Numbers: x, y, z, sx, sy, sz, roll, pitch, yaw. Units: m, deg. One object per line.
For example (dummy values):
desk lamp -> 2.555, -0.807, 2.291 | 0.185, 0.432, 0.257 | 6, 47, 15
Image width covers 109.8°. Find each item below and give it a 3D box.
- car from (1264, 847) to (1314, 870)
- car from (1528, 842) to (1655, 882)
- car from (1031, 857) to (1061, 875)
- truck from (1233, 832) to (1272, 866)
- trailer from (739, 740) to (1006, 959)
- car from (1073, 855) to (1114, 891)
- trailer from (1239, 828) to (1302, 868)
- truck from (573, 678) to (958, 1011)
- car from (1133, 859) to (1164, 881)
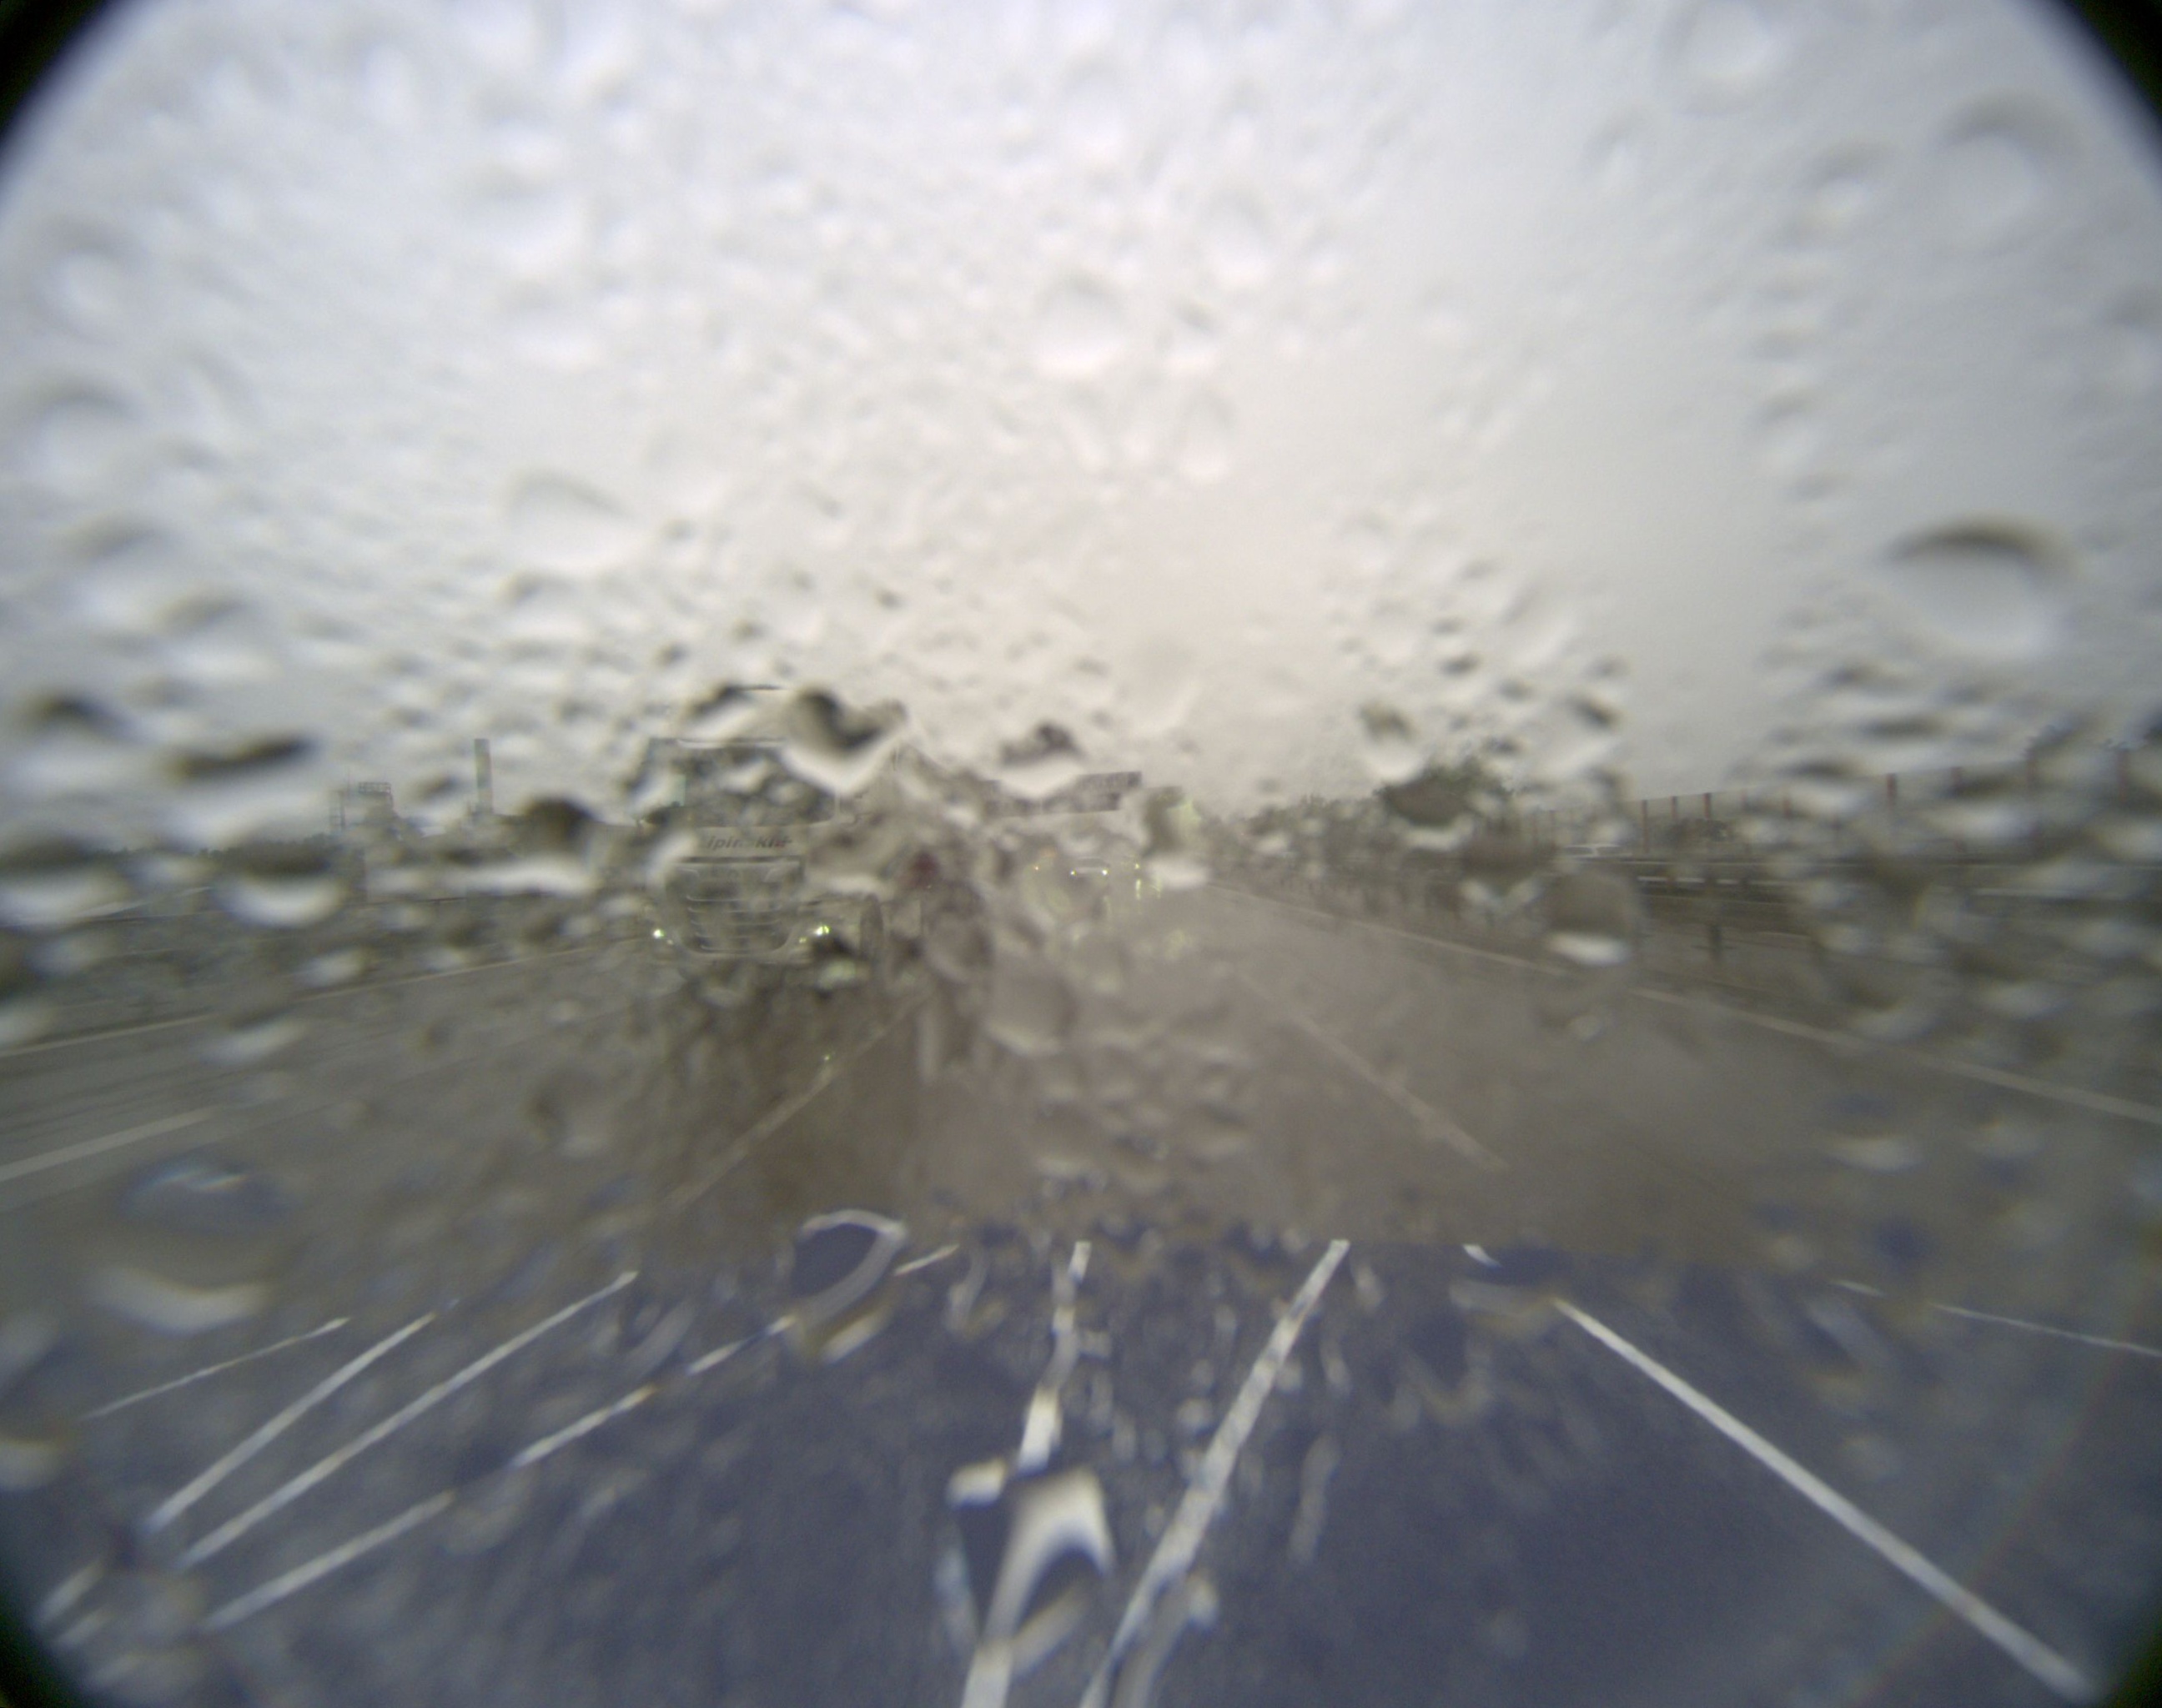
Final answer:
car -> 14.412, 0.330, 52.927 | 1.989, 1.463, 4.725 | -2, 0, -1
car -> 21.341, 0.315, 32.027 | 1.990, 1.463, 4.725 | -2, 0, -3
car -> -3.610, 1.194, 79.582 | 2.463, 1.735, 5.721 | -2, 0, 4
truck -> 18.992, -0.541, 84.414 | 2.989, 3.578, 6.000 | -2, 0, 1
trailer -> -4.171, -0.031, 18.903 | 3.196, 3.648, 11.667 | -2, 0, 0
car -> 0.644, 0.857, 36.189 | 1.751, 1.545, 4.091 | -3, 0, 3
trailer -> 18.906, -0.553, 76.951 | 3.080, 3.591, 13.571 | -2, 0, 1
truck -> -4.257, -0.109, 12.469 | 3.112, 3.784, 7.212 | -2, 0, 1
car -> 5.005, 1.177, 56.588 | 1.900, 1.533, 4.090 | -2, 0, 0
